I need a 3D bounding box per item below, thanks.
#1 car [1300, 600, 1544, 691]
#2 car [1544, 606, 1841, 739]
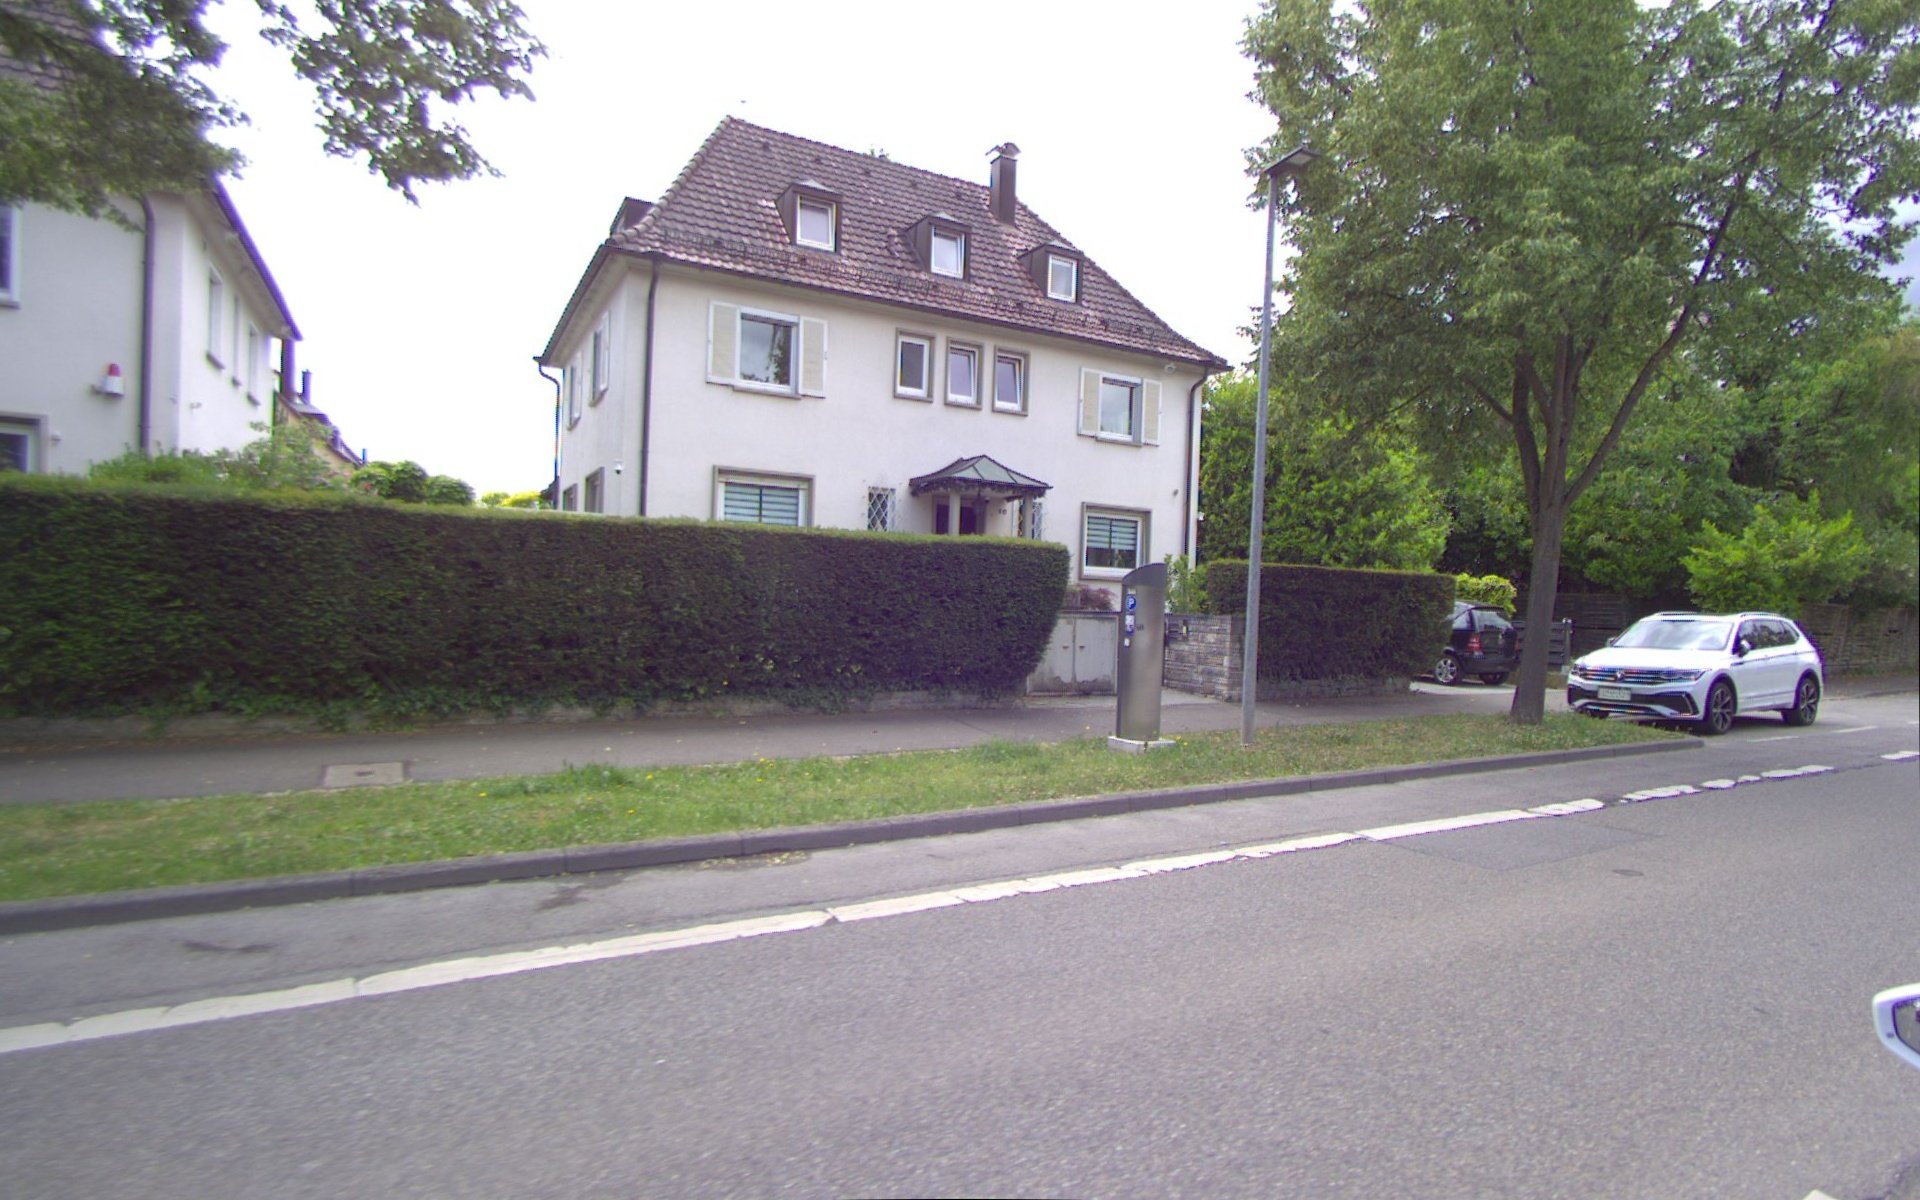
[{"bbox_3d":[9.011,0.820,19.939,1.744,1.606,4.178,1,0,-30],"label":"car"},{"bbox_3d":[11.079,0.993,15.102,4.809,1.711,1.864,1,0,-31],"label":"car"}]
